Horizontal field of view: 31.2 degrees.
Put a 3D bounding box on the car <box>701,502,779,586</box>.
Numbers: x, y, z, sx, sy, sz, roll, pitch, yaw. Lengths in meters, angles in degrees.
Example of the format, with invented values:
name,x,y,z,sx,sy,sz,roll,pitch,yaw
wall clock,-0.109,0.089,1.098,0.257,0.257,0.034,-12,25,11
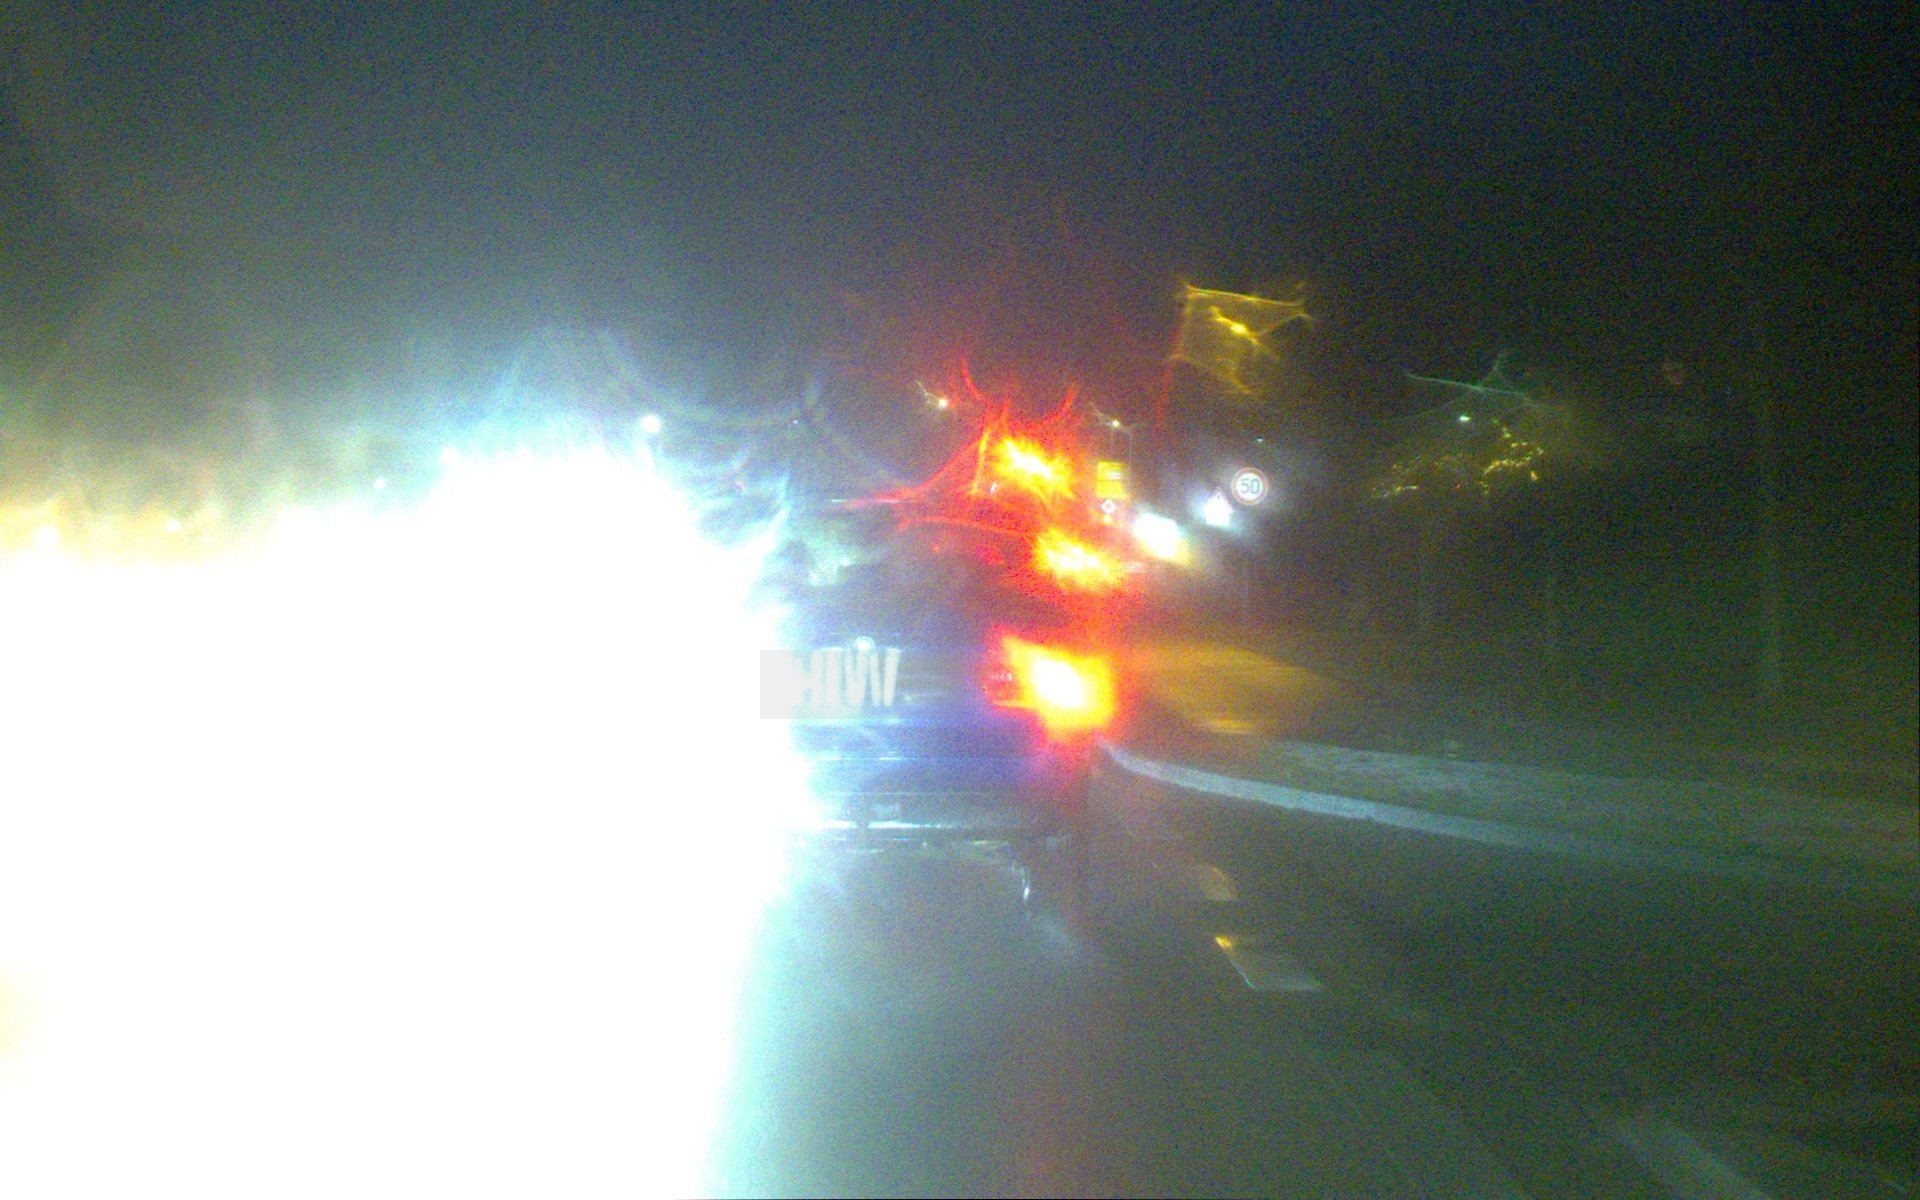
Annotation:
name,x,y,z,sx,sy,sz,roll,pitch,yaw
car,-7.348,-1.881,115.630,2.122,2.698,6.240,1,1,1

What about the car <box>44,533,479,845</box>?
name,x,y,z,sx,sy,sz,roll,pitch,yaw
car,-3.603,0.389,18.340,1.622,1.468,3.885,1,1,-2

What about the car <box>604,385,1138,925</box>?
name,x,y,z,sx,sy,sz,roll,pitch,yaw
car,-0.375,0.165,14.817,1.942,1.965,4.218,1,1,-1

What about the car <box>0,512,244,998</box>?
name,x,y,z,sx,sy,sz,roll,pitch,yaw
car,-3.636,0.424,12.158,1.669,1.468,3.634,1,1,-4

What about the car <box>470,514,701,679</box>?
name,x,y,z,sx,sy,sz,roll,pitch,yaw
car,-3.785,-0.080,35.425,1.844,1.569,4.597,1,1,0

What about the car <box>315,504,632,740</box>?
name,x,y,z,sx,sy,sz,roll,pitch,yaw
car,-3.687,0.114,26.769,1.844,1.663,4.445,1,1,0
